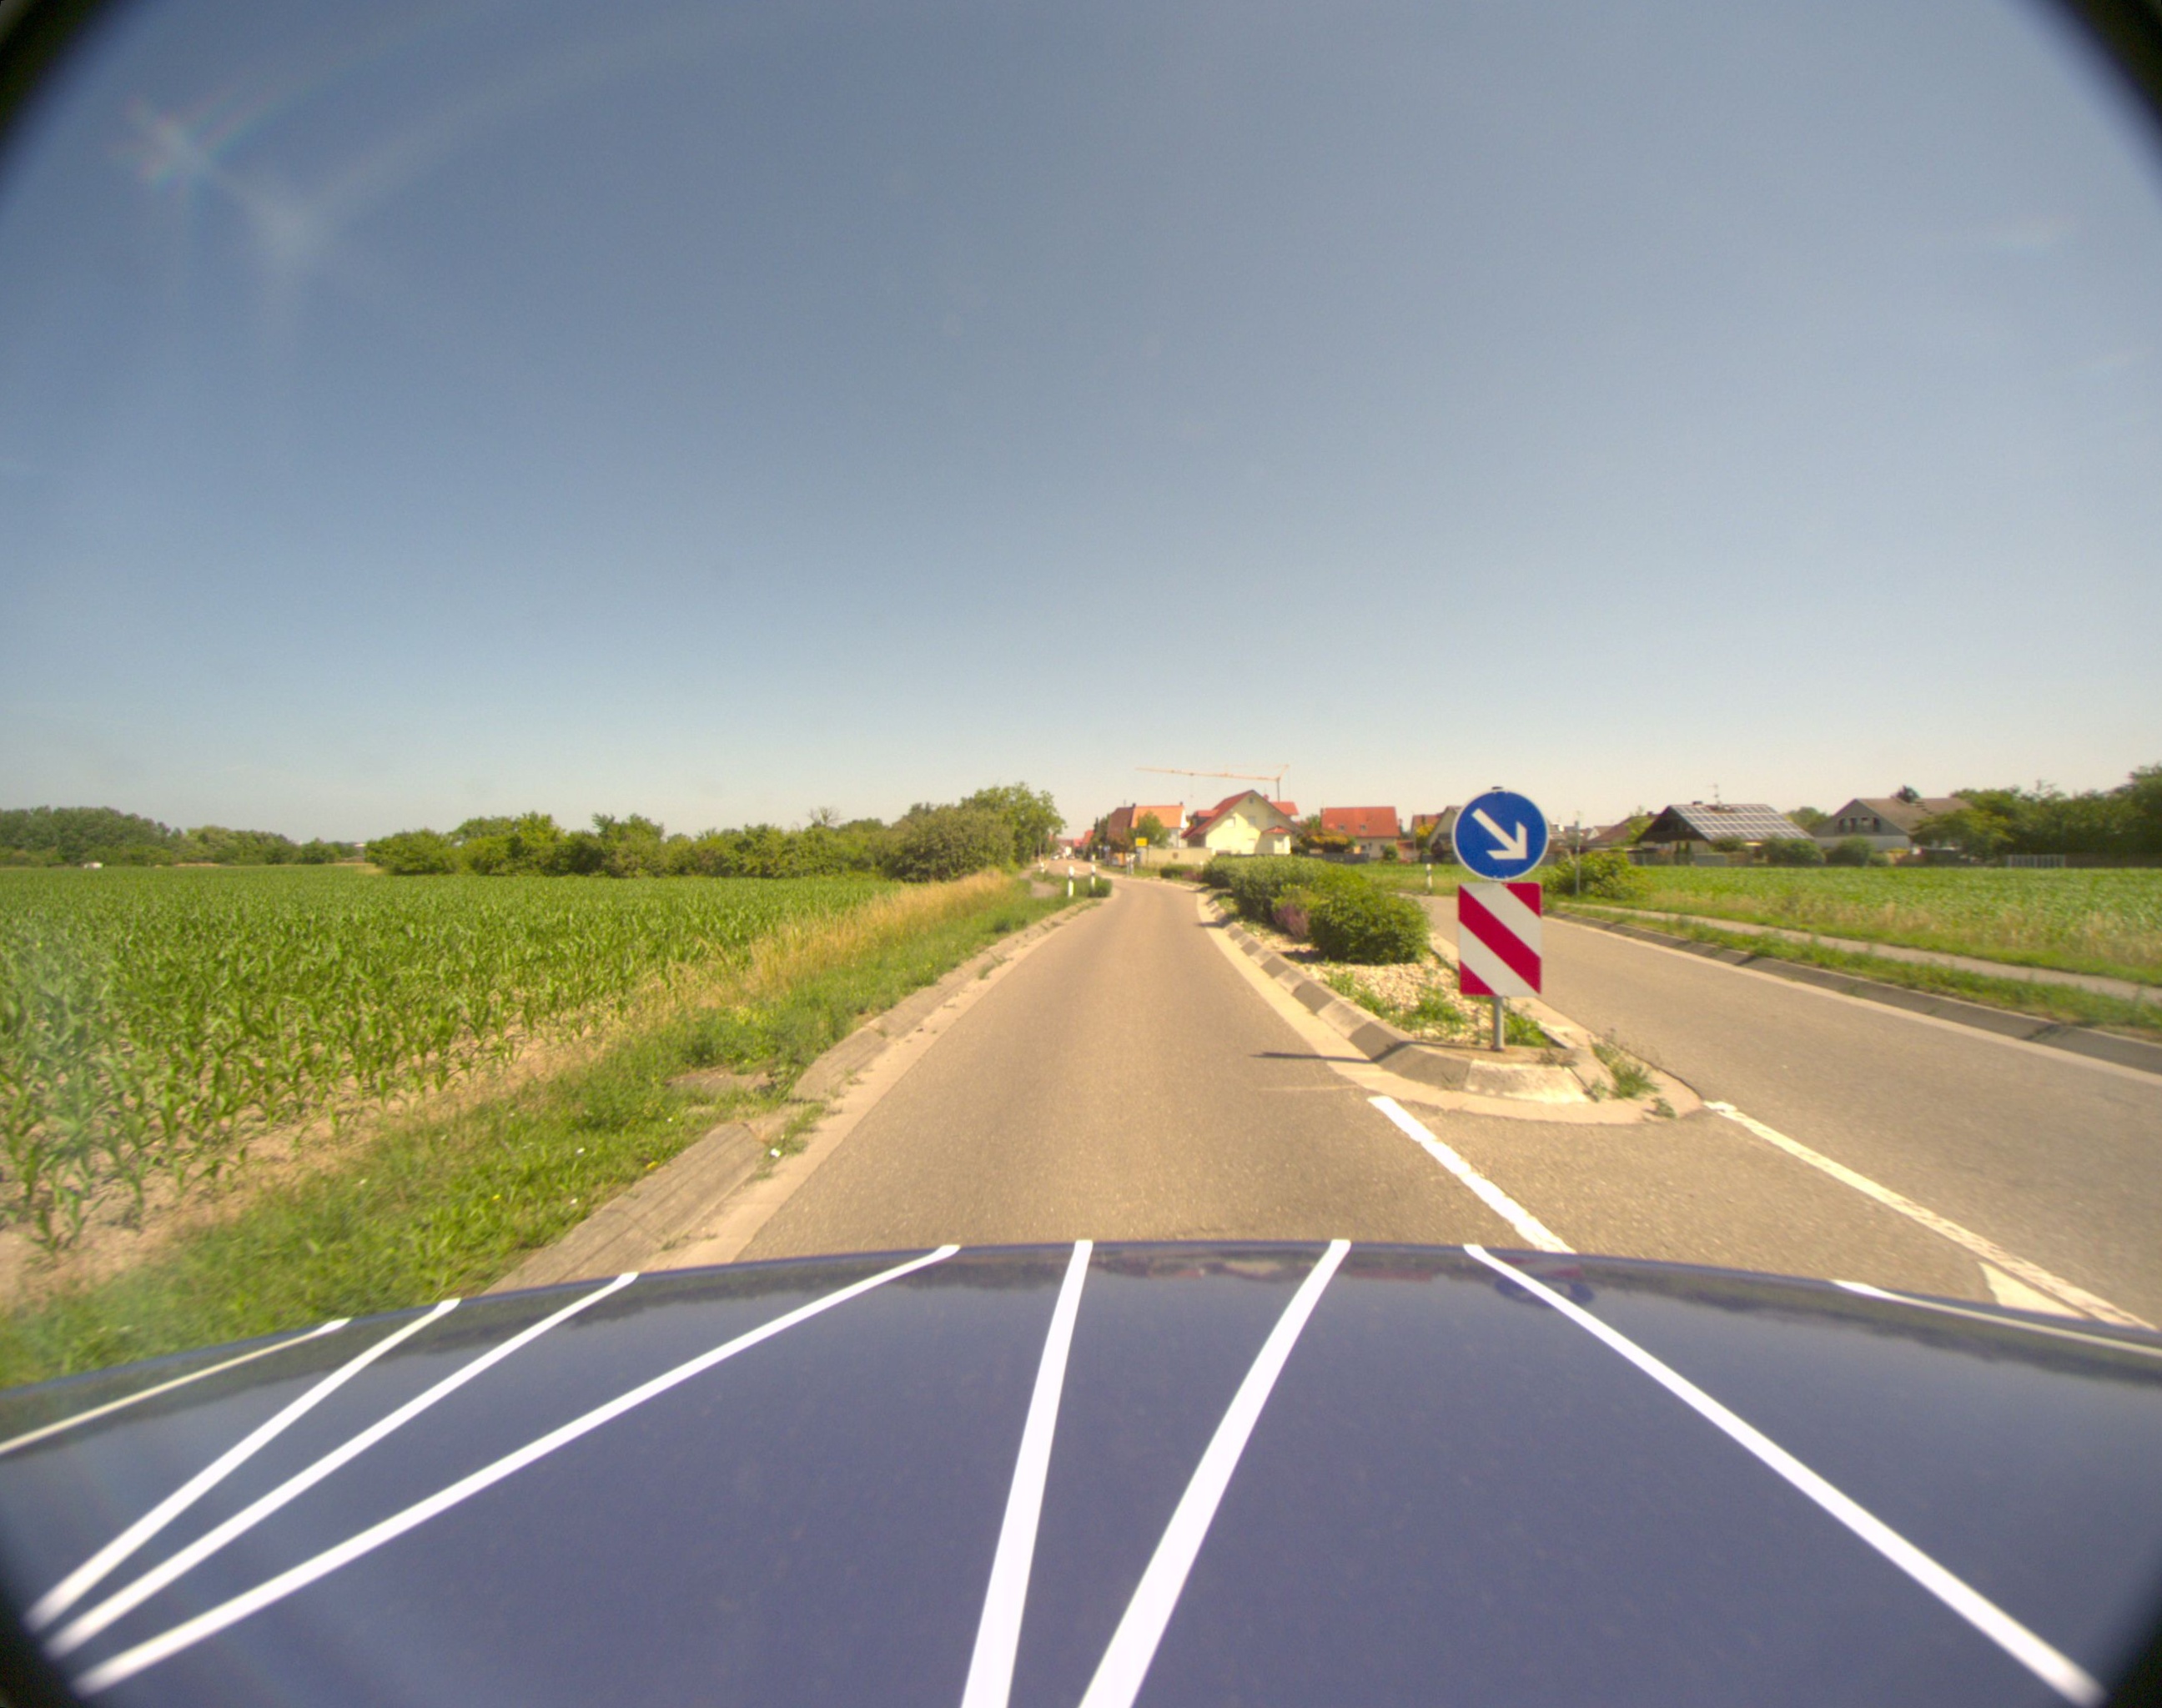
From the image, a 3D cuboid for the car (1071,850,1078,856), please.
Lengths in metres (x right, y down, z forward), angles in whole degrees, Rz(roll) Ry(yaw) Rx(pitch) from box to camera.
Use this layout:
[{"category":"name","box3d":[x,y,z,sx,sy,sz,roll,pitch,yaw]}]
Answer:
[{"category":"car","box3d":[-1.679,-0.295,201.277,1.733,1.380,3.531,0,0,-1]}]

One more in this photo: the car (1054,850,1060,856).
[{"category":"car","box3d":[-6.327,-0.256,200.714,1.733,1.380,3.531,0,0,-1]}]
